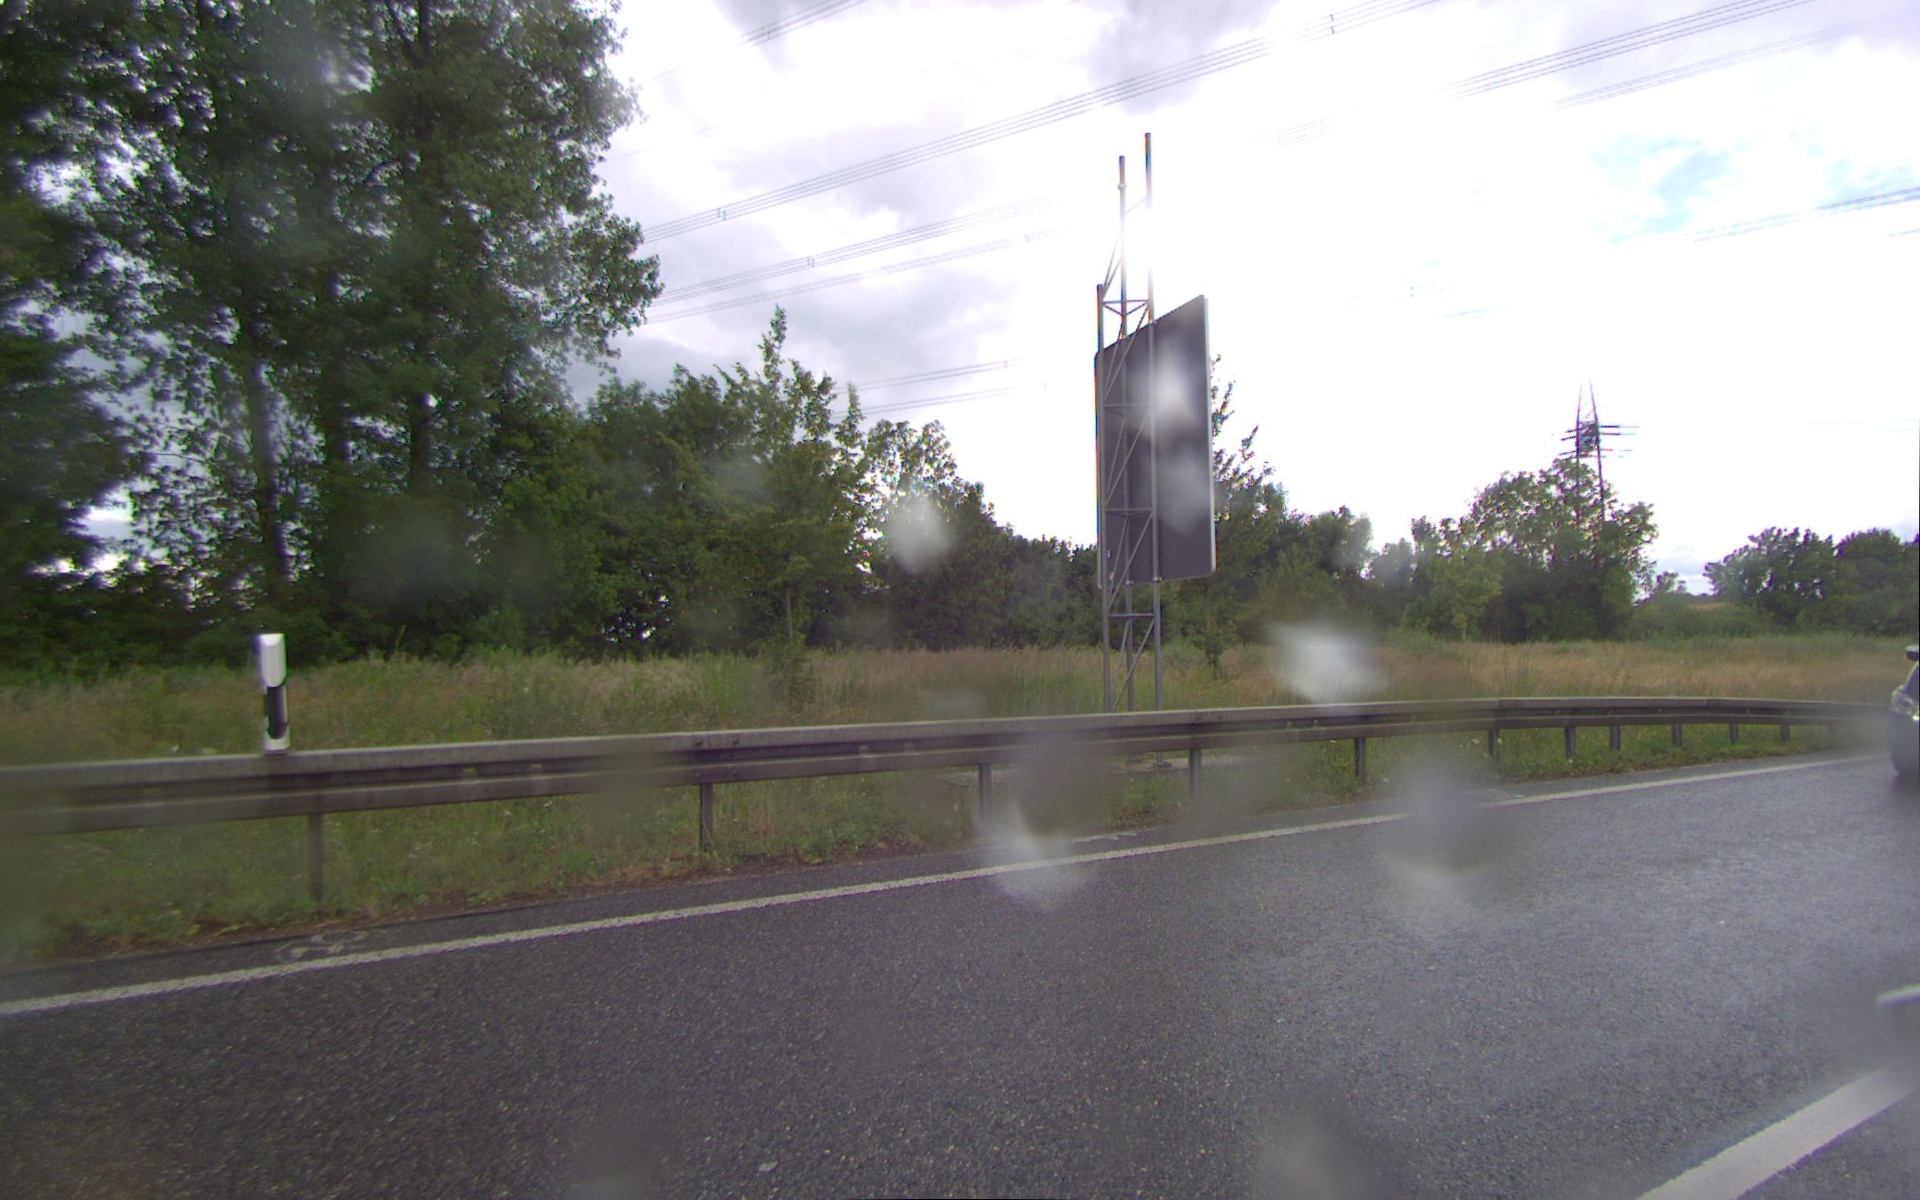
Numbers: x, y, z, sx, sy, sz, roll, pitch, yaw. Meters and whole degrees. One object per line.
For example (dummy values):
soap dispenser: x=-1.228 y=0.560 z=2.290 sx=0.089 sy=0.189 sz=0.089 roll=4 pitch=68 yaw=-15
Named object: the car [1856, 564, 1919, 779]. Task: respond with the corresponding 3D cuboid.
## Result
car: x=11.435 y=0.725 z=10.224 sx=4.800 sy=2.040 sz=1.954 roll=1 pitch=0 yaw=-29
